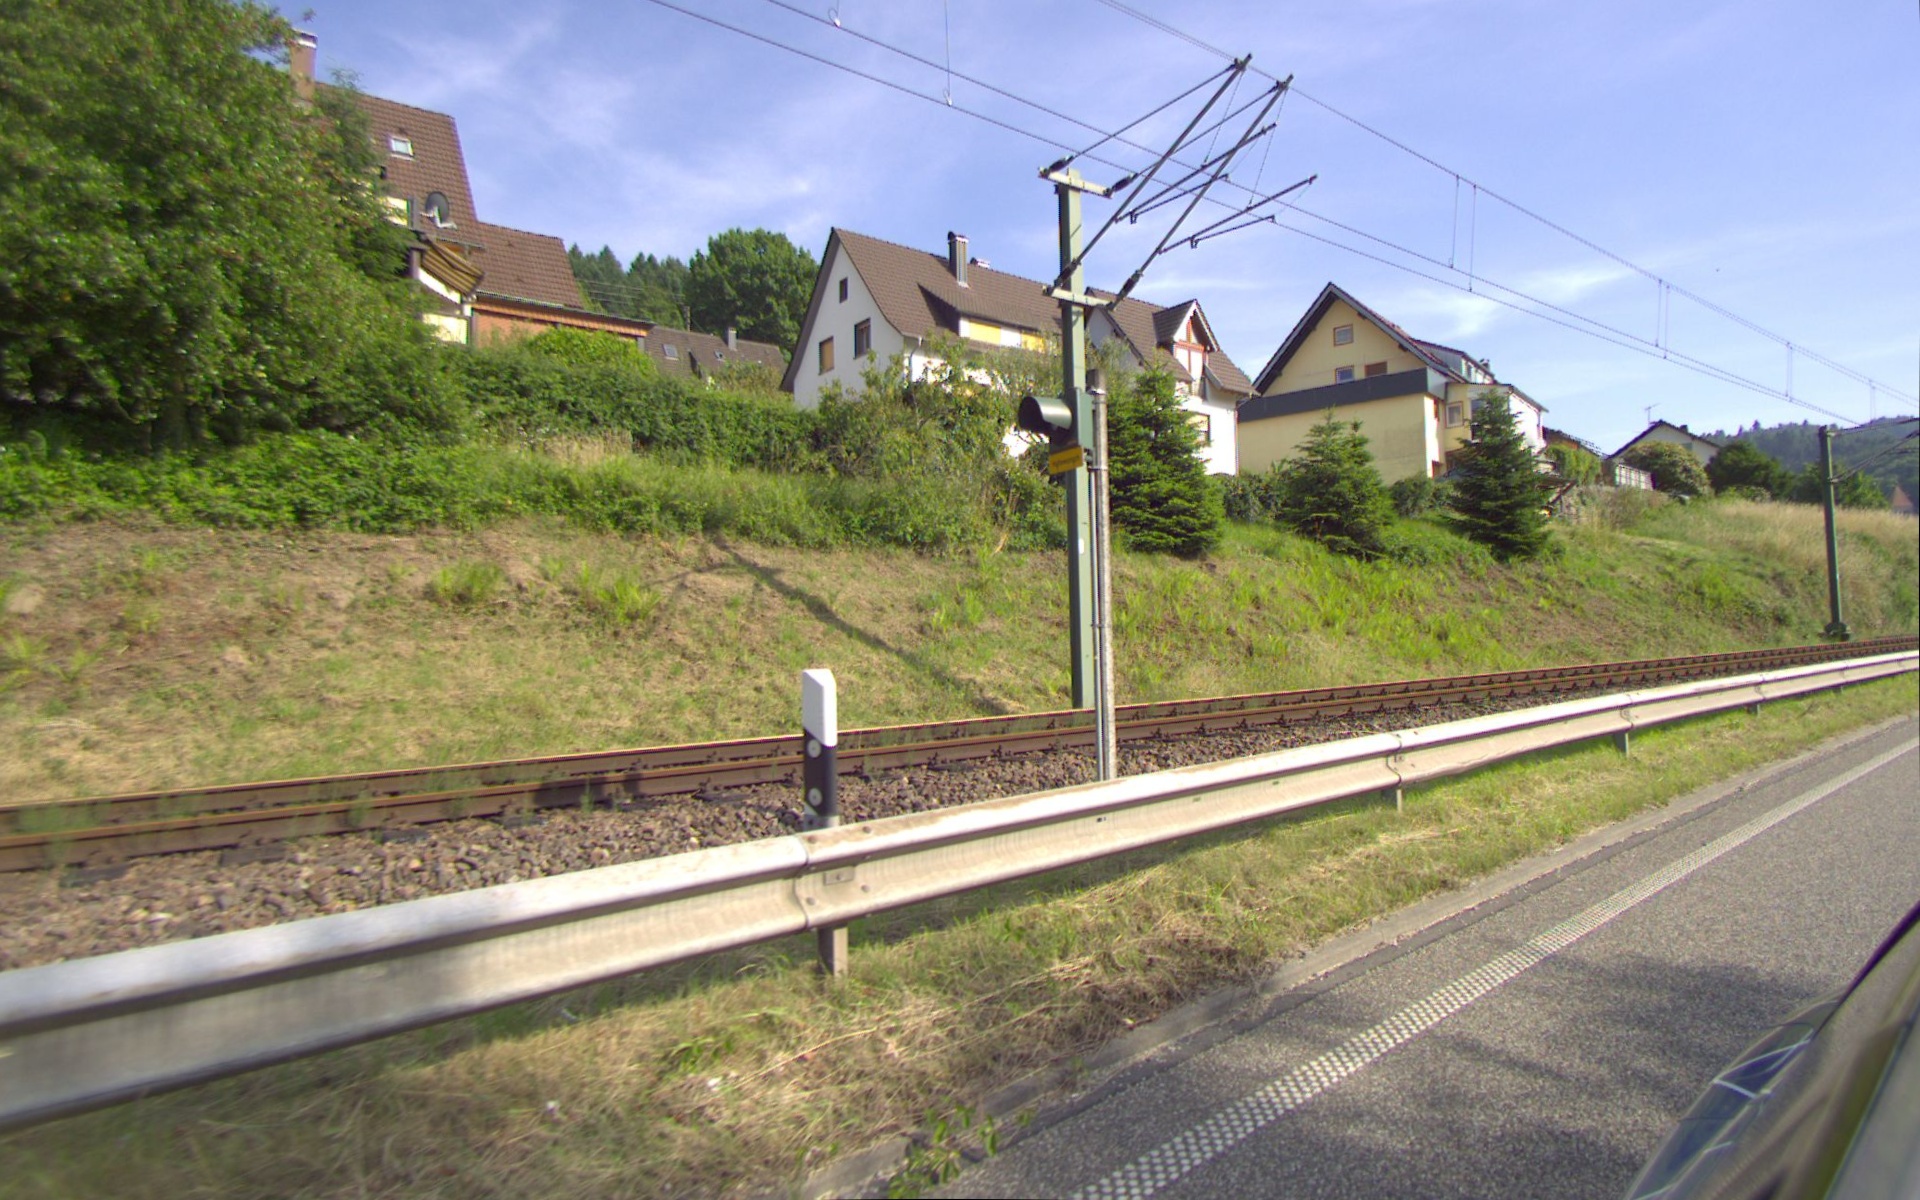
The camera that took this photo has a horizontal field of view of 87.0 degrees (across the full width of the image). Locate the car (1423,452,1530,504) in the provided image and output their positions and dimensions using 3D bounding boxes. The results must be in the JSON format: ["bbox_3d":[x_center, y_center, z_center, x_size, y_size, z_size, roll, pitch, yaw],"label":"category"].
[{"bbox_3d":[22.769,-5.342,44.673,1.723,1.560,3.743,-1,-3,-42],"label":"car"}]
